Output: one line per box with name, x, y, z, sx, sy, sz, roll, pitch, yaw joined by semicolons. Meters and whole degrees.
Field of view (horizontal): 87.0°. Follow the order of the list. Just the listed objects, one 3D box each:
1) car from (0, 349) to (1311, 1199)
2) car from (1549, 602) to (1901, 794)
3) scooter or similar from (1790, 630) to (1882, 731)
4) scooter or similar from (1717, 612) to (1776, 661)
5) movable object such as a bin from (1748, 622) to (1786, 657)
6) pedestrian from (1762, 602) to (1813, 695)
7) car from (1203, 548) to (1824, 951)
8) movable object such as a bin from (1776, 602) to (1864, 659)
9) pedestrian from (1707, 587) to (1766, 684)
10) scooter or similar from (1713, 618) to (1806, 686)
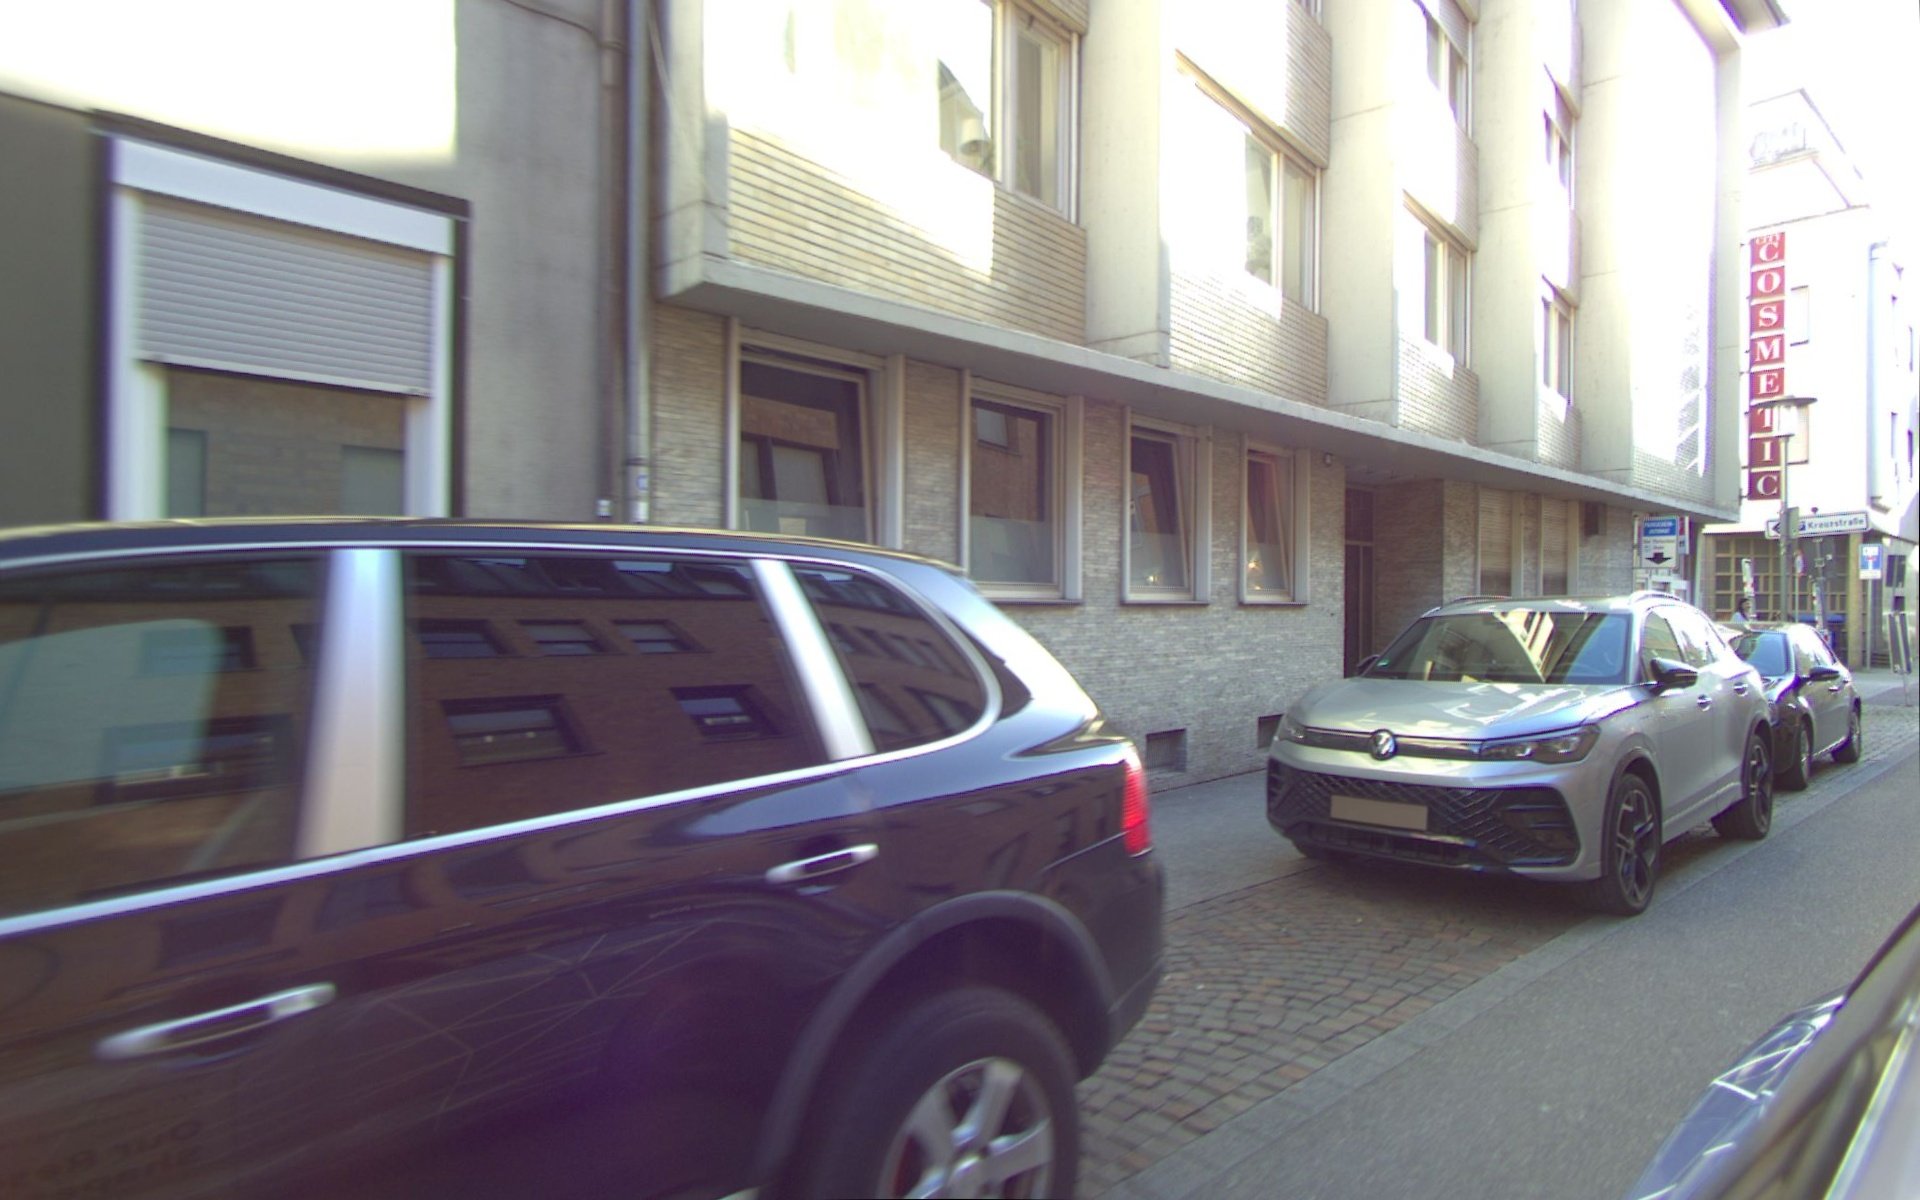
car;-1.633;0.651;1.919;4.962;1.809;2.107;0;-1;-40
car;7.847;0.827;10.212;4.517;1.524;1.826;0;-3;-40
scooter or similar;11.440;1.014;13.251;0.488;1.209;1.297;0;0;21
scooter or similar;20.553;0.942;26.451;0.489;1.239;1.161;1;0;-41
movable object such as a bin;22.025;1.071;27.620;0.587;0.938;0.606;0;0;9
pedestrian;14.290;0.823;17.487;0.570;1.560;0.436;3;2;34
car;3.877;0.671;6.666;4.758;1.724;1.996;0;-2;-41
movable object such as a bin;23.054;0.800;27.156;1.411;1.481;1.126;0;0;9
pedestrian;14.248;0.639;18.577;0.611;1.758;0.626;0;0;4
scooter or similar;15.107;0.964;19.152;1.026;1.191;0.871;2;0;3
